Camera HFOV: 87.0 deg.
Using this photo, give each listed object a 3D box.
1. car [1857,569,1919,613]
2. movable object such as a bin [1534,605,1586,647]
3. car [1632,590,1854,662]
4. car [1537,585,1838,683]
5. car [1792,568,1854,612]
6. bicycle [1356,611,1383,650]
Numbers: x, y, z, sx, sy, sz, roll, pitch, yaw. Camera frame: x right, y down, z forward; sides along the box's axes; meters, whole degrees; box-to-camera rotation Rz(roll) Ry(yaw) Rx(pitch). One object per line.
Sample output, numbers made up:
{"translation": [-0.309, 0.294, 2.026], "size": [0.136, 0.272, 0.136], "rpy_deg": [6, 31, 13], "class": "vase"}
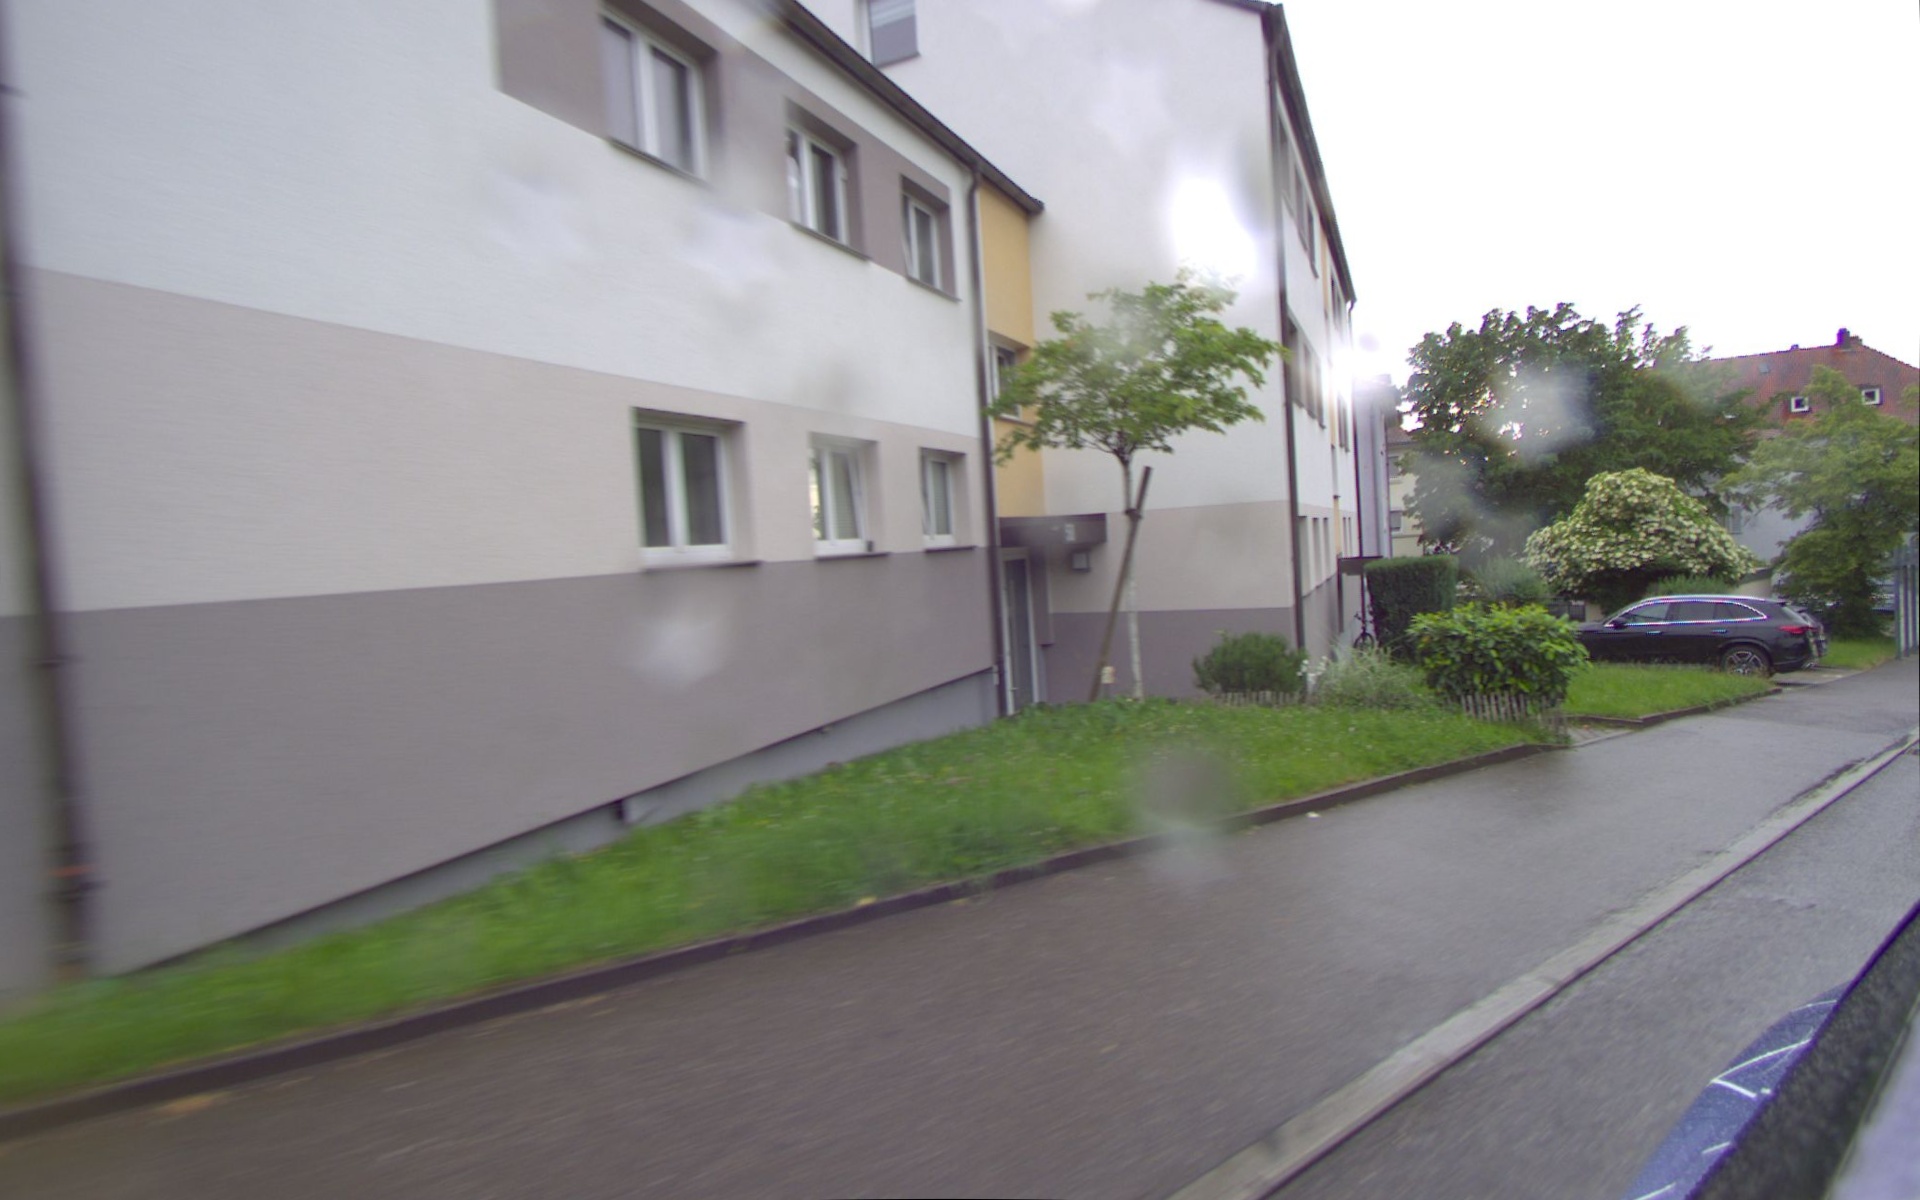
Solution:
{"translation": [41.026, -0.429, 44.516], "size": [1.712, 1.581, 3.754], "rpy_deg": [2, 6, 32], "class": "car"}
{"translation": [20.911, 0.905, 35.289], "size": [1.099, 1.412, 1.140], "rpy_deg": [-1, -2, -37], "class": "movable object such as a bin"}
{"translation": [17.682, 0.521, 22.980], "size": [1.694, 1.477, 3.749], "rpy_deg": [0, 0, -41], "class": "car"}
{"translation": [13.880, 0.555, 19.494], "size": [4.526, 1.681, 1.826], "rpy_deg": [1, 0, 44], "class": "car"}
{"translation": [38.790, -0.481, 45.571], "size": [1.786, 1.611, 4.203], "rpy_deg": [2, 6, 37], "class": "car"}
{"translation": [10.958, 0.804, 27.062], "size": [0.567, 1.002, 1.668], "rpy_deg": [-2, -1, 24], "class": "bicycle"}
